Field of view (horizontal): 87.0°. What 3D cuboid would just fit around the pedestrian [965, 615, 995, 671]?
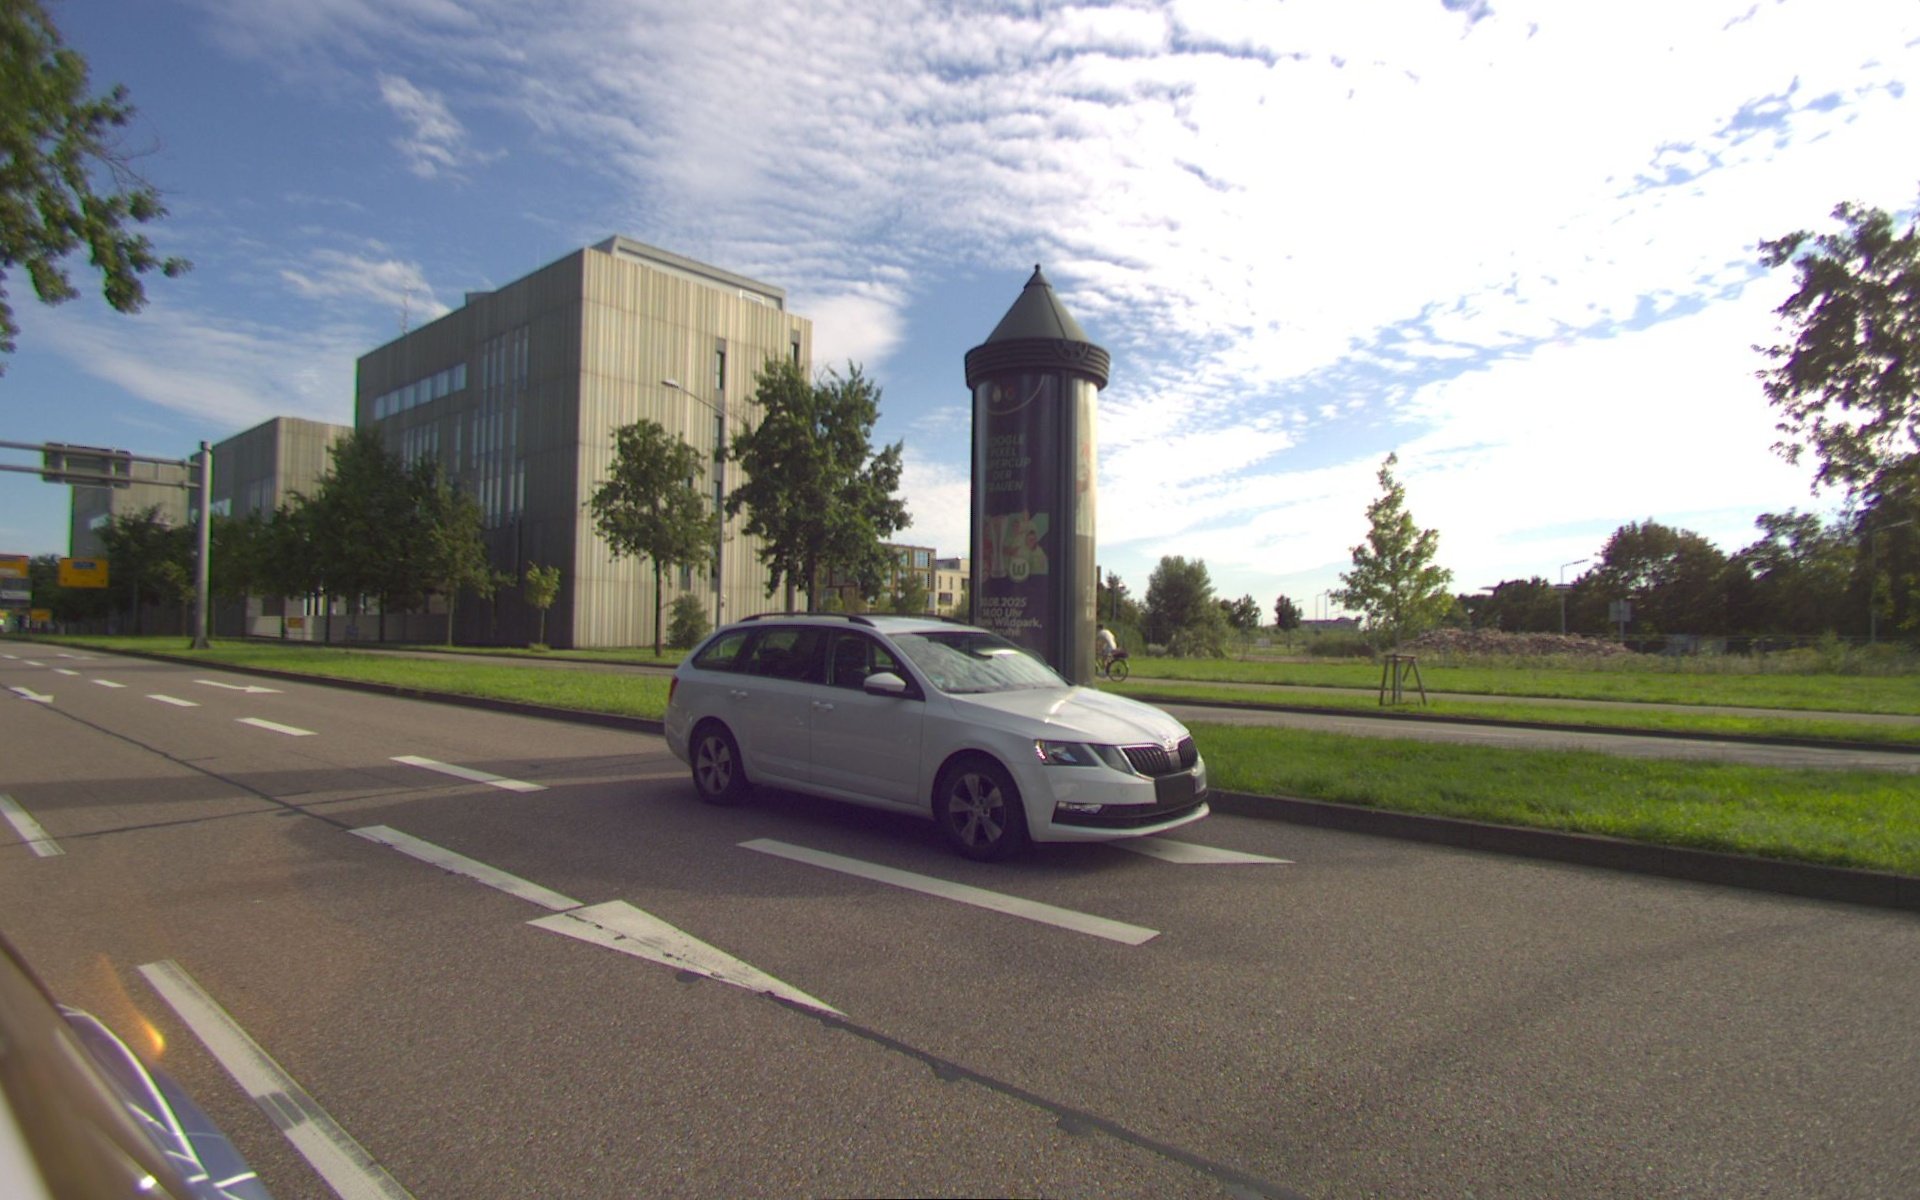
[{"bbox_3d":[0.753,1.567,37.230,0.867,2.029,0.667,-1,-3,41],"label":"pedestrian"}]

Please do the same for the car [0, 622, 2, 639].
[{"bbox_3d":[-116.933,3.695,121.774,3.998,2.029,1.973,-1,-3,41],"label":"car"}]

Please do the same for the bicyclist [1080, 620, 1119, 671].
[{"bbox_3d":[4.335,1.404,31.387,0.989,1.537,0.698,-1,-3,41],"label":"bicyclist"}]

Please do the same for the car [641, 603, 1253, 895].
[{"bbox_3d":[-0.345,0.804,7.351,4.479,1.510,1.681,-1,-1,41],"label":"car"}]

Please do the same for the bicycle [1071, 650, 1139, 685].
[{"bbox_3d":[4.477,2.068,31.259,1.910,0.989,0.885,-2,-3,41],"label":"bicycle"}]
